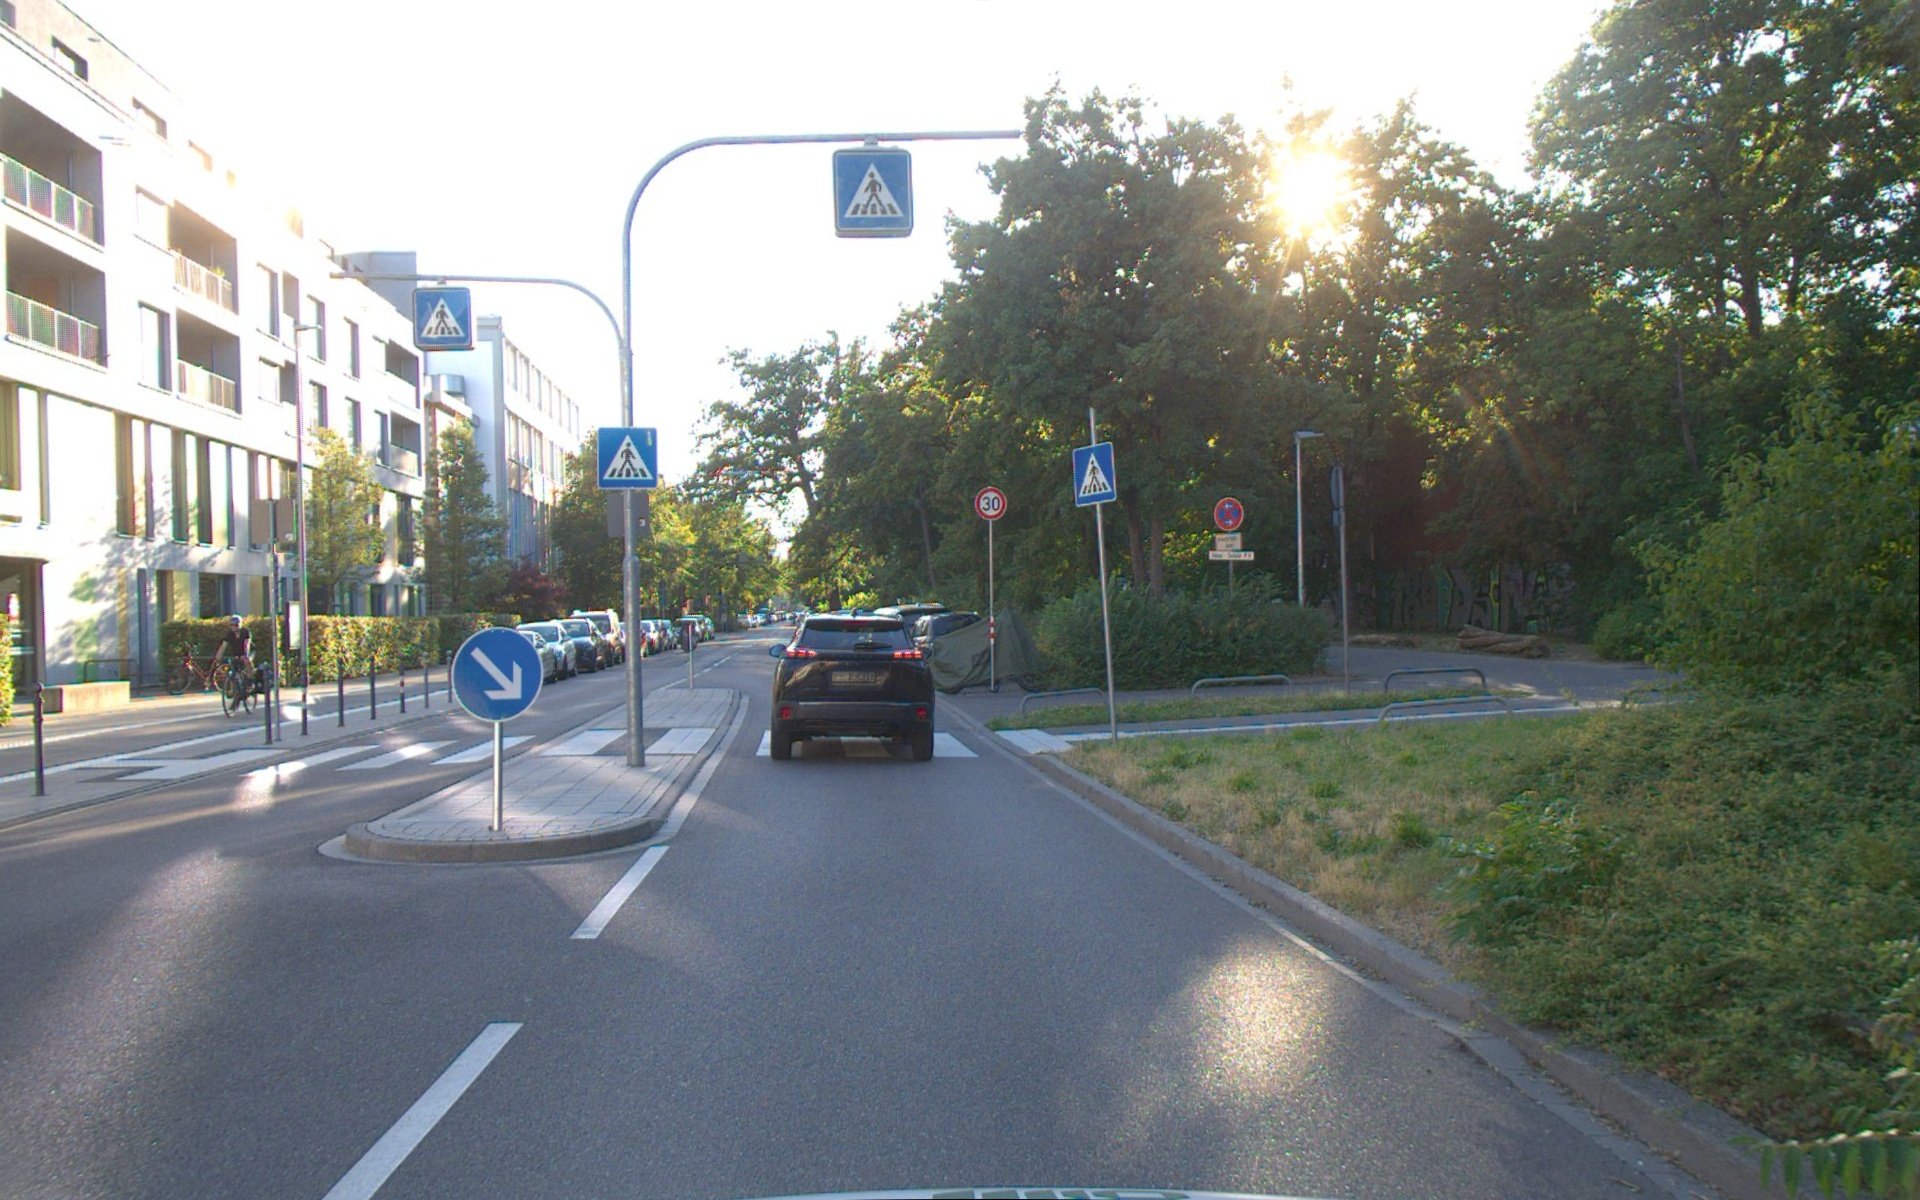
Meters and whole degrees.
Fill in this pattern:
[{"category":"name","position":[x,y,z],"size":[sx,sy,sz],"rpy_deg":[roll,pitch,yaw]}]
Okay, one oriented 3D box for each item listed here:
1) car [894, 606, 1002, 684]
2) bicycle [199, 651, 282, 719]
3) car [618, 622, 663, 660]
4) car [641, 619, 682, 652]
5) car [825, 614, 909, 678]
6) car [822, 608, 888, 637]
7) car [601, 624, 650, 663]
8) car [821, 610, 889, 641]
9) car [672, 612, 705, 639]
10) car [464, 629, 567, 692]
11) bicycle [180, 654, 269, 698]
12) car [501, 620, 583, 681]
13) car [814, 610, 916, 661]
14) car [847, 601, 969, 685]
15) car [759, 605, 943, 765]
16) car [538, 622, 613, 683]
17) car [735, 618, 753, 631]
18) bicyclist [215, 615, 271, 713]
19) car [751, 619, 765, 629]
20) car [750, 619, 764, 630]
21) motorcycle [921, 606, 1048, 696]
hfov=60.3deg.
[{"category":"car","position":[-0.305,0.928,35.194],"size":[1.591,1.512,3.408],"rpy_deg":[-2,0,-12]},{"category":"bicycle","position":[-12.646,1.480,29.124],"size":[0.620,1.097,1.883],"rpy_deg":[-2,0,0]},{"category":"car","position":[-14.103,1.780,73.181],"size":[1.568,1.480,4.049],"rpy_deg":[-3,0,-6]},{"category":"car","position":[-14.844,1.750,82.415],"size":[1.570,1.520,3.768],"rpy_deg":[-3,0,-5]},{"category":"car","position":[-2.579,1.220,45.054],"size":[1.621,1.595,4.288],"rpy_deg":[-2,0,-12]},{"category":"car","position":[-6.657,1.410,105.117],"size":[4.086,1.740,1.866],"rpy_deg":[-1,0,-2]},{"category":"car","position":[-13.586,1.752,67.303],"size":[1.568,1.480,3.856],"rpy_deg":[-2,0,-7]},{"category":"car","position":[-6.397,1.547,100.384],"size":[4.042,1.696,1.721],"rpy_deg":[-2,0,-6]},{"category":"car","position":[-16.466,1.525,100.415],"size":[1.638,1.520,4.057],"rpy_deg":[-2,0,-5]},{"category":"car","position":[-11.092,1.486,41.521],"size":[1.708,1.380,4.391],"rpy_deg":[-2,0,-5]},{"category":"bicycle","position":[-16.595,1.712,37.343],"size":[1.718,0.934,0.616],"rpy_deg":[0,-1,-8]},{"category":"car","position":[-11.745,1.390,46.661],"size":[1.709,1.560,4.109],"rpy_deg":[-2,0,-7]},{"category":"car","position":[-3.538,1.308,61.312],"size":[3.543,1.551,1.669],"rpy_deg":[-5,0,-8]},{"category":"car","position":[-1.305,0.991,39.261],"size":[1.890,1.779,4.648],"rpy_deg":[-2,0,-14]},{"category":"car","position":[-1.298,0.861,18.390],"size":[1.736,1.596,3.373],"rpy_deg":[0,0,-9]},{"category":"car","position":[-12.063,1.605,52.100],"size":[1.709,1.705,4.410],"rpy_deg":[-3,0,-6]},{"category":"car","position":[-24.651,2.764,188.694],"size":[1.778,1.378,3.990],"rpy_deg":[-2,0,-10]},{"category":"bicyclist","position":[-12.657,1.119,29.215],"size":[0.614,1.673,0.757],"rpy_deg":[-2,-1,0]},{"category":"car","position":[-29.141,3.466,238.585],"size":[1.777,1.378,3.991],"rpy_deg":[-2,0,-9]},{"category":"car","position":[-28.093,3.366,228.583],"size":[1.777,1.378,3.970],"rpy_deg":[-2,0,-9]},{"category":"motorcycle","position":[0.482,0.946,30.945],"size":[2.243,1.572,1.040],"rpy_deg":[-2,-1,5]}]
